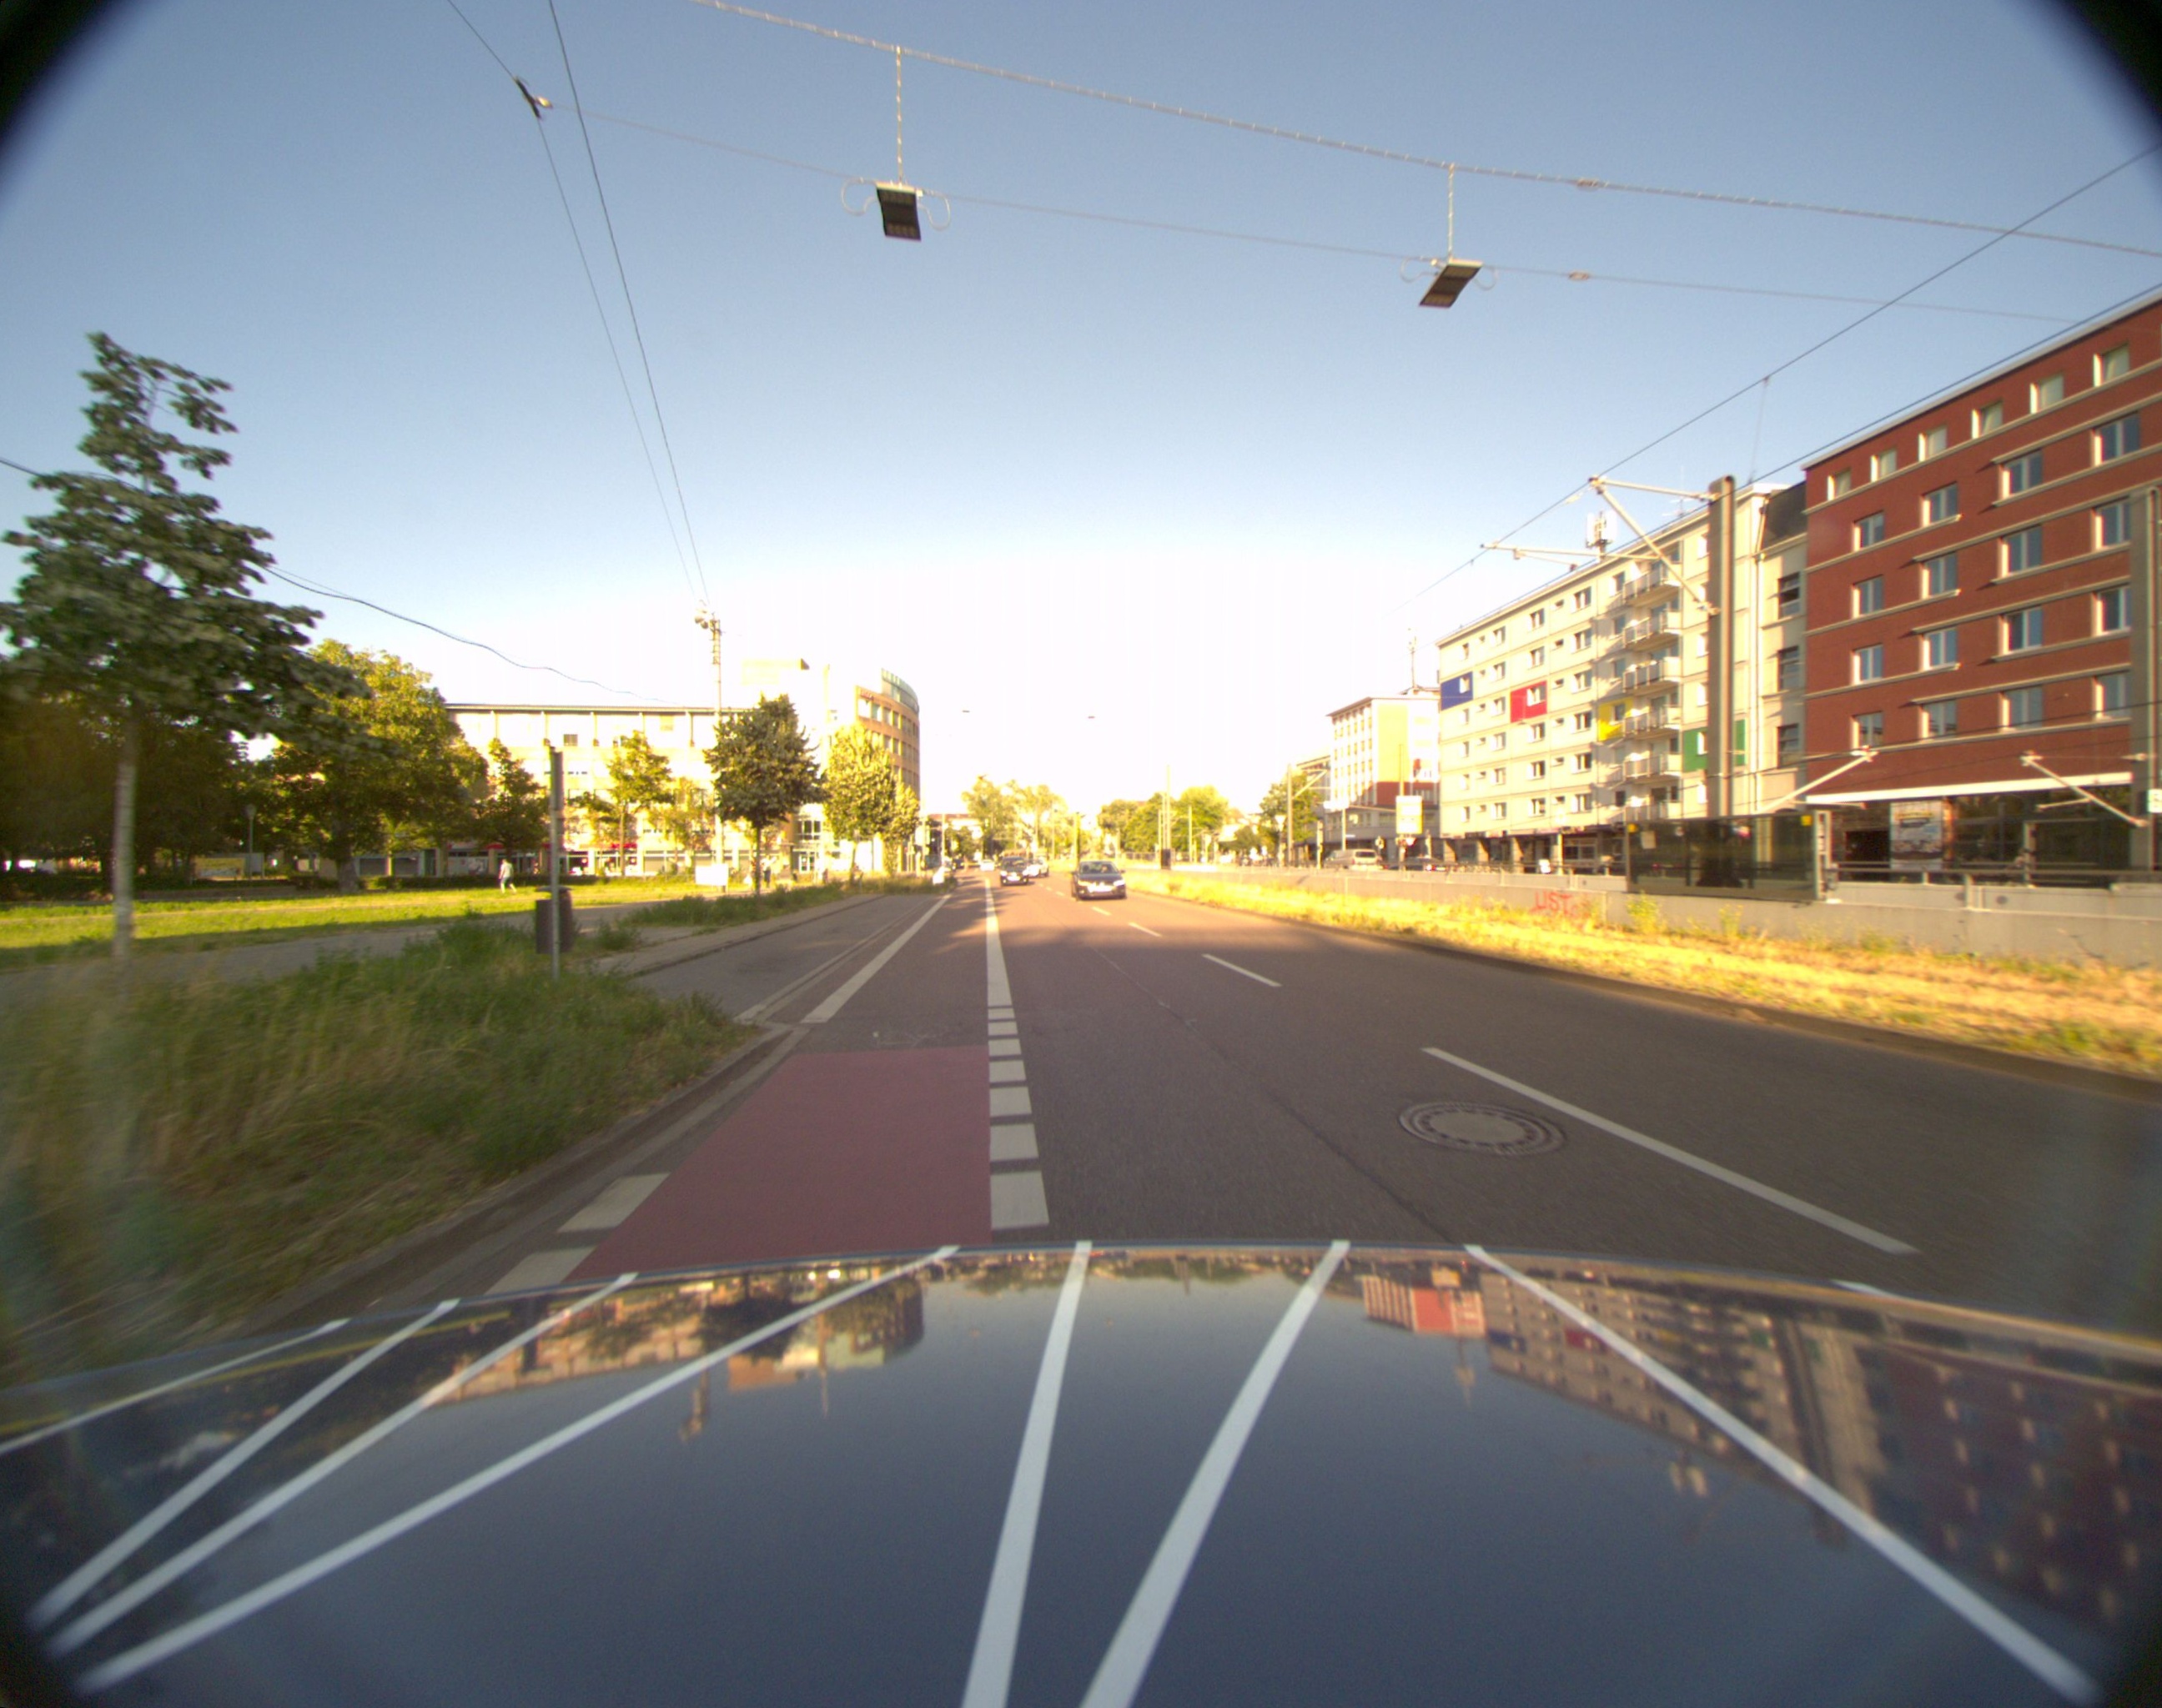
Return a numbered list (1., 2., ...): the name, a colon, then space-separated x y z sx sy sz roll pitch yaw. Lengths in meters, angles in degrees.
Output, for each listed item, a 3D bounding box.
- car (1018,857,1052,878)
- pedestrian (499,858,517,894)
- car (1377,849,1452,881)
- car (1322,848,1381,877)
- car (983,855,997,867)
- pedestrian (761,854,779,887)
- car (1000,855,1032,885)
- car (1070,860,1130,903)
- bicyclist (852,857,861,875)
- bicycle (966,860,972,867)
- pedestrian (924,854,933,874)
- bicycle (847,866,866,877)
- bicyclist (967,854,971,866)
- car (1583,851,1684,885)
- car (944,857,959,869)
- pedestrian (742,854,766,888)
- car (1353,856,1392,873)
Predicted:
1. car: -3.618 1.057 60.768 1.832 1.528 4.281 -1 0 9
2. pedestrian: -28.649 1.093 37.993 0.644 1.729 0.595 -1 0 -40
3. car: 19.709 0.620 45.163 1.999 1.786 4.892 -1 0 -5
4. car: 19.202 0.582 54.218 2.000 2.002 4.771 -1 0 -7
5. car: -12.764 0.979 106.380 1.771 1.464 4.011 -2 1 -7
6. pedestrian: -15.998 0.831 39.053 0.599 1.679 0.781 1 0 -3
7. car: -4.018 0.922 46.345 1.771 1.722 4.145 -1 0 -7
8. car: 0.615 0.951 28.229 1.770 1.418 4.243 -2 0 -4
9. bicyclist: -24.497 1.305 82.854 0.576 1.927 0.699 -2 1 40
10. bicycle: -15.197 1.301 103.198 0.609 0.923 1.776 -1 0 -4
11. pedestrian: -13.326 0.859 66.396 0.651 1.714 0.714 -1 0 -4
12. bicycle: -24.472 1.892 82.873 0.699 1.044 1.983 -2 0 39
13. bicyclist: -15.209 0.793 103.224 0.552 1.600 0.832 -1 0 -4
14. car: 31.304 0.767 43.239 1.999 1.786 4.740 -1 0 -5
15. car: -16.980 1.204 99.753 1.771 1.464 4.011 -2 1 -7
16. pedestrian: -16.139 0.841 37.545 0.741 1.640 0.915 2 0 -3
17. car: 22.323 0.806 58.212 1.230 1.280 3.187 0 0 -12
